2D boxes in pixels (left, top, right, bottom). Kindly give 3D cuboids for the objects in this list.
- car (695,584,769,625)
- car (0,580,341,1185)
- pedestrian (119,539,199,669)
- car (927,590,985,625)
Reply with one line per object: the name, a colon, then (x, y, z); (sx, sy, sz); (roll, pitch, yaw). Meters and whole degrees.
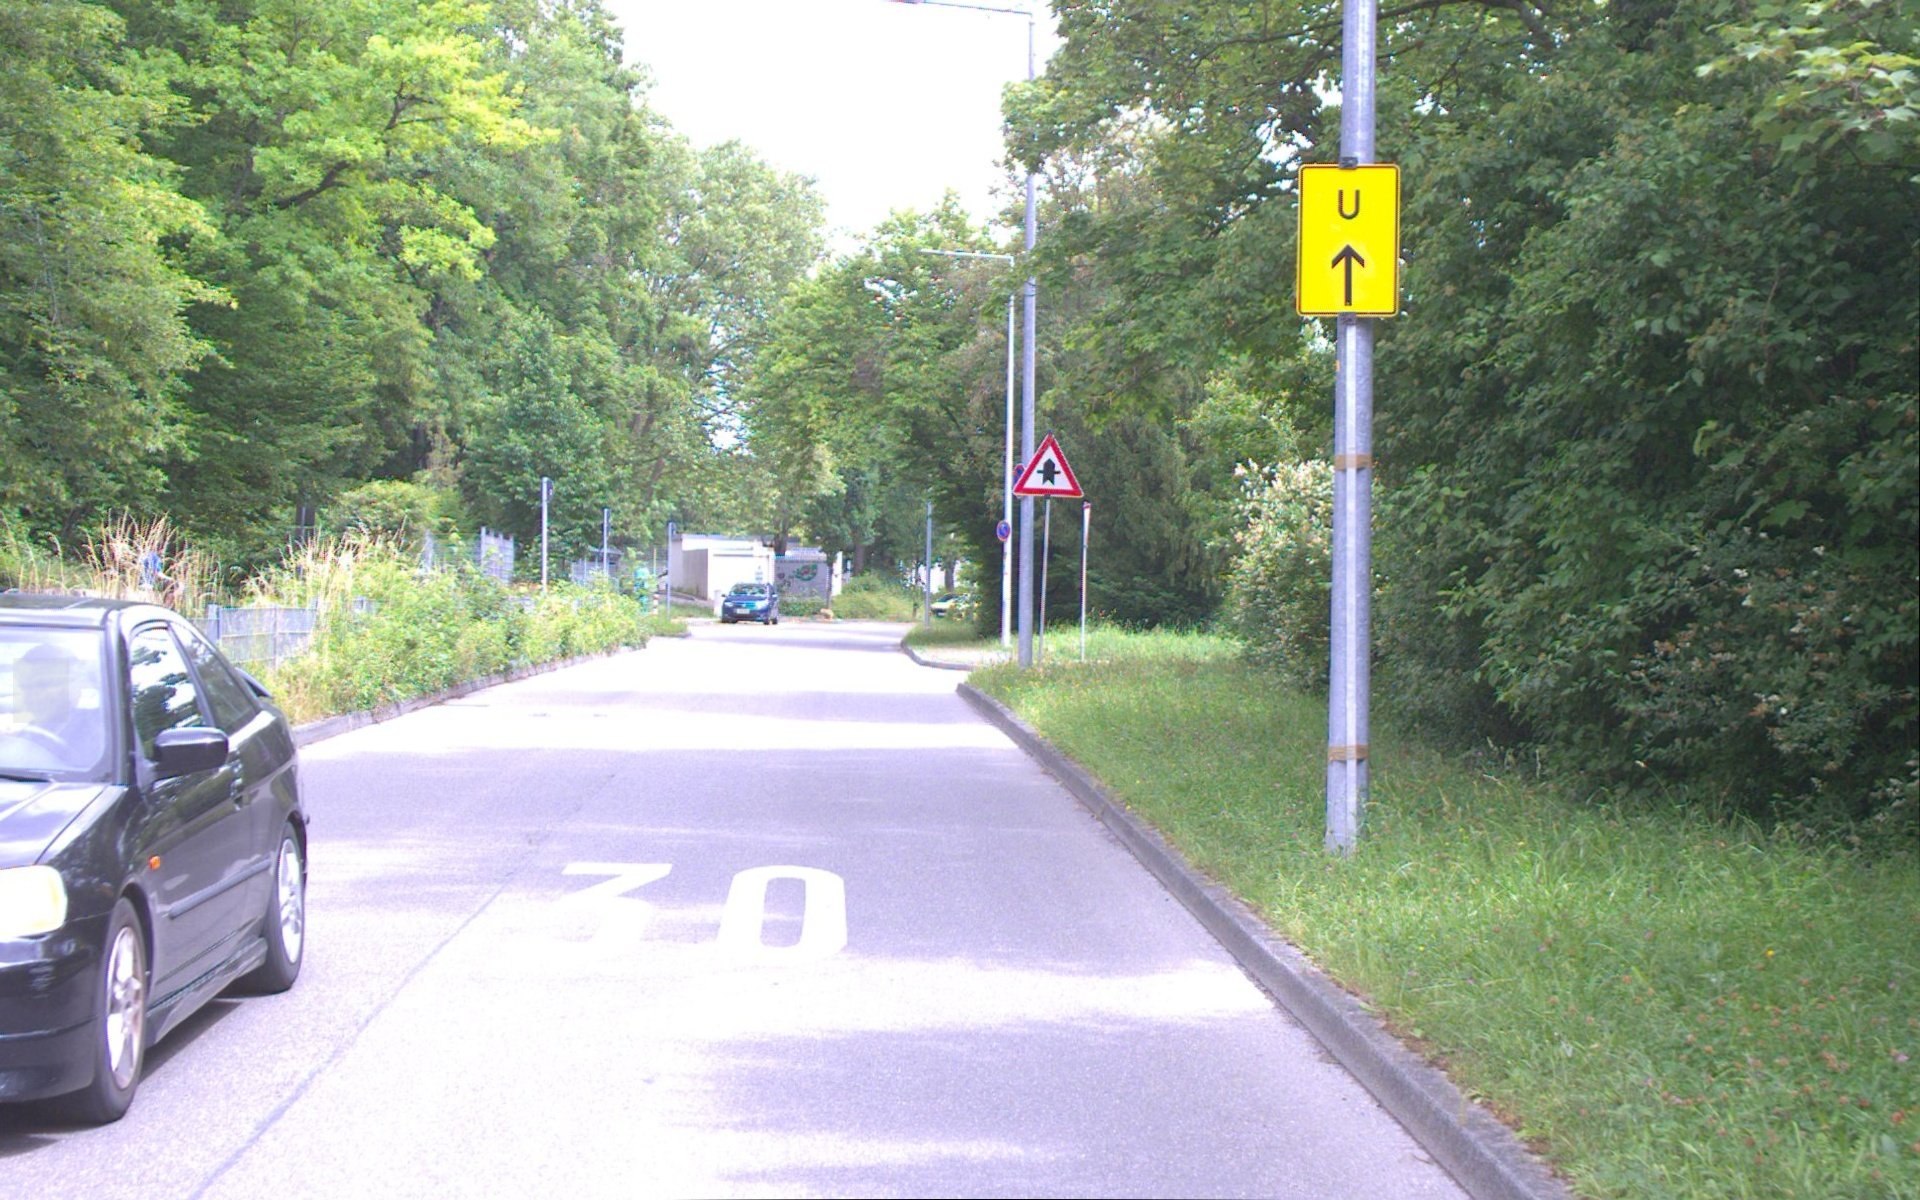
car: (-8.255, 0.148, 124.787); (1.979, 1.379, 3.999); (2, 0, 6)
car: (-3.000, 0.644, 10.031); (1.693, 1.344, 4.095); (1, 1, -1)
pedestrian: (-12.609, 0.077, 54.116); (0.877, 2.007, 0.865); (-3, -3, 44)
car: (-0.177, 0.365, 162.281); (1.861, 1.487, 3.997); (-1, -2, 13)
